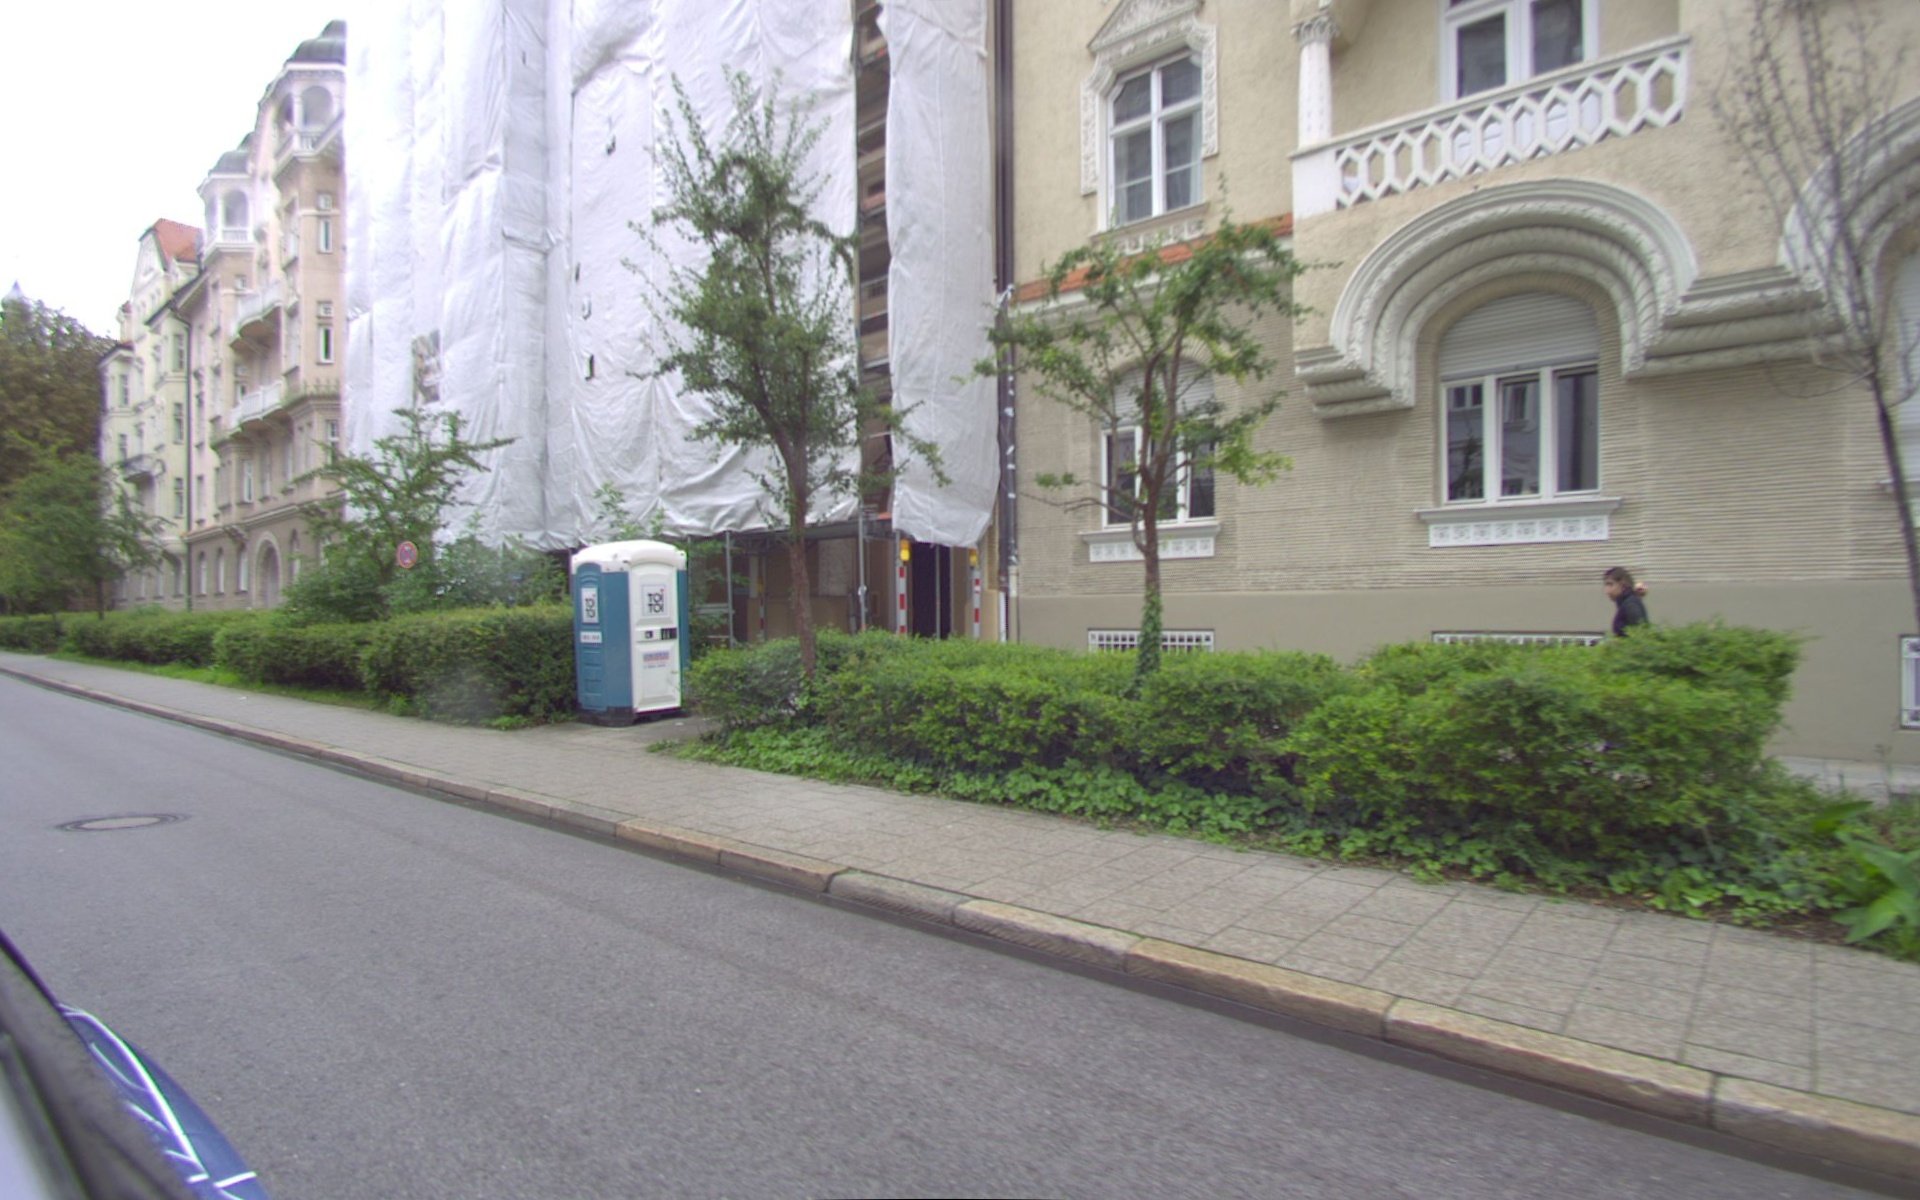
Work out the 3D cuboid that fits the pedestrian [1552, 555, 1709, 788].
[{"bbox_3d":[5.508,0.551,8.309,0.947,1.765,0.904,-1,-2,41],"label":"pedestrian"}]
